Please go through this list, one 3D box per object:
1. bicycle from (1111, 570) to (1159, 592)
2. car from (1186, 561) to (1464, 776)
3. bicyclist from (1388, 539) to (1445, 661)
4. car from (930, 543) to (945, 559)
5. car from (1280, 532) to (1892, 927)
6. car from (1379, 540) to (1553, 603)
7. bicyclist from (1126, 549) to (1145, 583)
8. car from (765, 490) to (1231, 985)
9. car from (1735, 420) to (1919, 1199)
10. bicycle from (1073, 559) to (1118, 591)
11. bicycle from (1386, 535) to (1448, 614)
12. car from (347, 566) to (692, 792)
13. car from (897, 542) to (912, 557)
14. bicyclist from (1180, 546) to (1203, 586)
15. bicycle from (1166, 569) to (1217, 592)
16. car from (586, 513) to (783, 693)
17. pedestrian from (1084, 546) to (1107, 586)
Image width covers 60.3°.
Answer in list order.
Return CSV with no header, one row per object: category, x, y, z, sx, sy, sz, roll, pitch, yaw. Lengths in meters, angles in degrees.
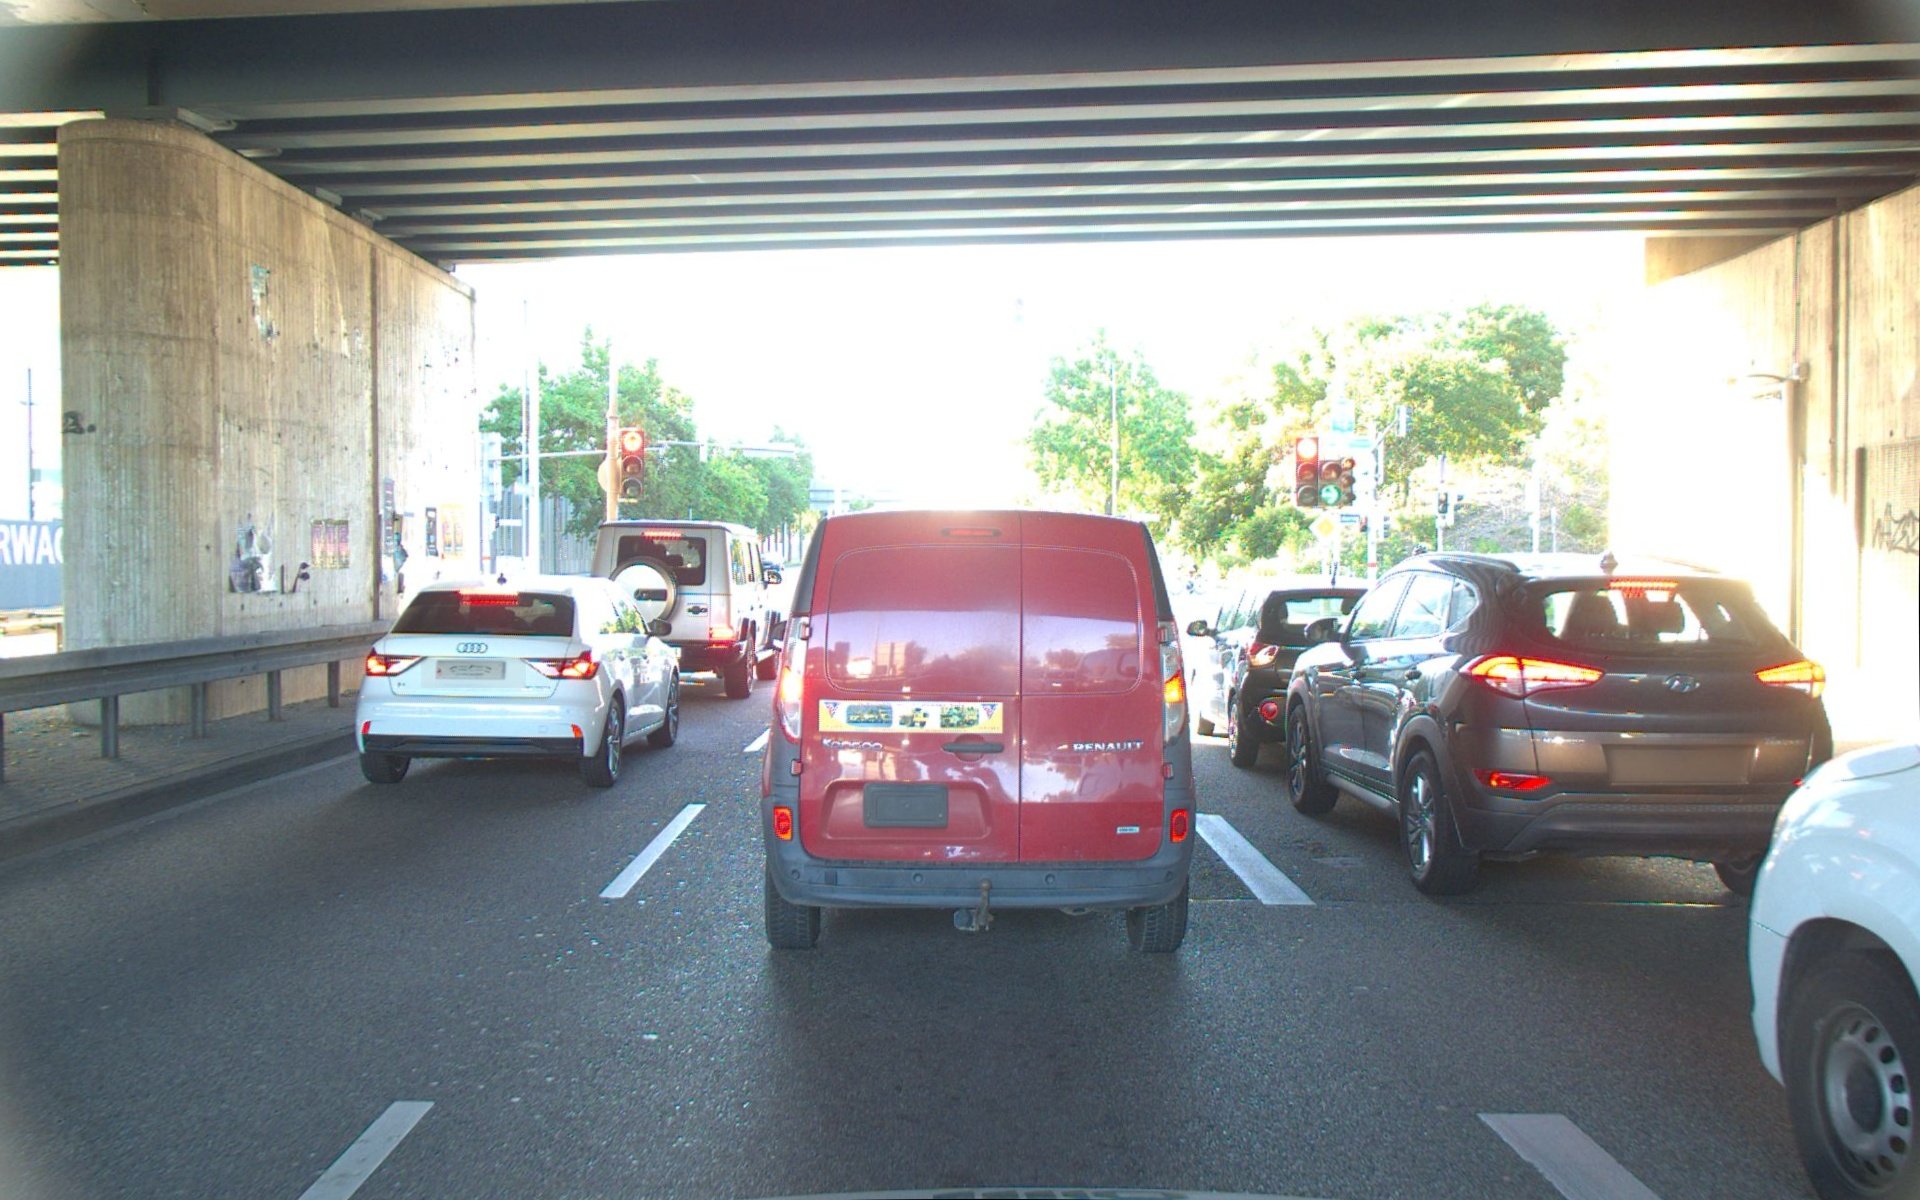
bicycle,7.087,-0.786,66.906,1.875,0.882,0.605,0,0,-4
car,3.028,0.471,14.463,1.618,1.579,3.865,1,2,1
bicyclist,6.284,-0.002,22.799,0.663,1.657,0.644,1,0,10
car,-2.991,-6.561,221.830,1.953,2.049,4.000,1,0,-1
car,3.107,0.532,9.168,1.742,1.684,3.989,1,1,-2
car,14.181,-0.780,46.502,4.261,1.635,1.999,1,0,-4
bicyclist,7.088,-1.377,66.901,0.640,1.352,0.602,1,0,-4
car,0.124,0.480,8.063,1.684,1.795,4.000,1,1,-1
car,3.048,0.584,2.314,1.777,1.865,4.299,1,1,-2
bicycle,5.313,-0.964,64.861,1.696,1.254,0.557,0,1,-7
bicycle,6.288,-0.336,22.801,0.662,1.042,1.530,1,0,10
car,-3.144,0.483,12.557,1.658,1.434,3.812,1,1,-1
car,-8.045,-7.327,239.615,1.953,2.049,4.000,1,0,-1
bicyclist,9.190,-1.344,65.694,0.740,1.569,0.696,0,0,-5
bicycle,9.198,-0.771,65.707,1.914,0.889,0.699,0,0,-5
car,-3.206,0.008,19.932,1.777,1.937,3.812,1,1,-1
pedestrian,5.324,-1.328,64.853,0.820,1.581,0.556,0,1,-7
